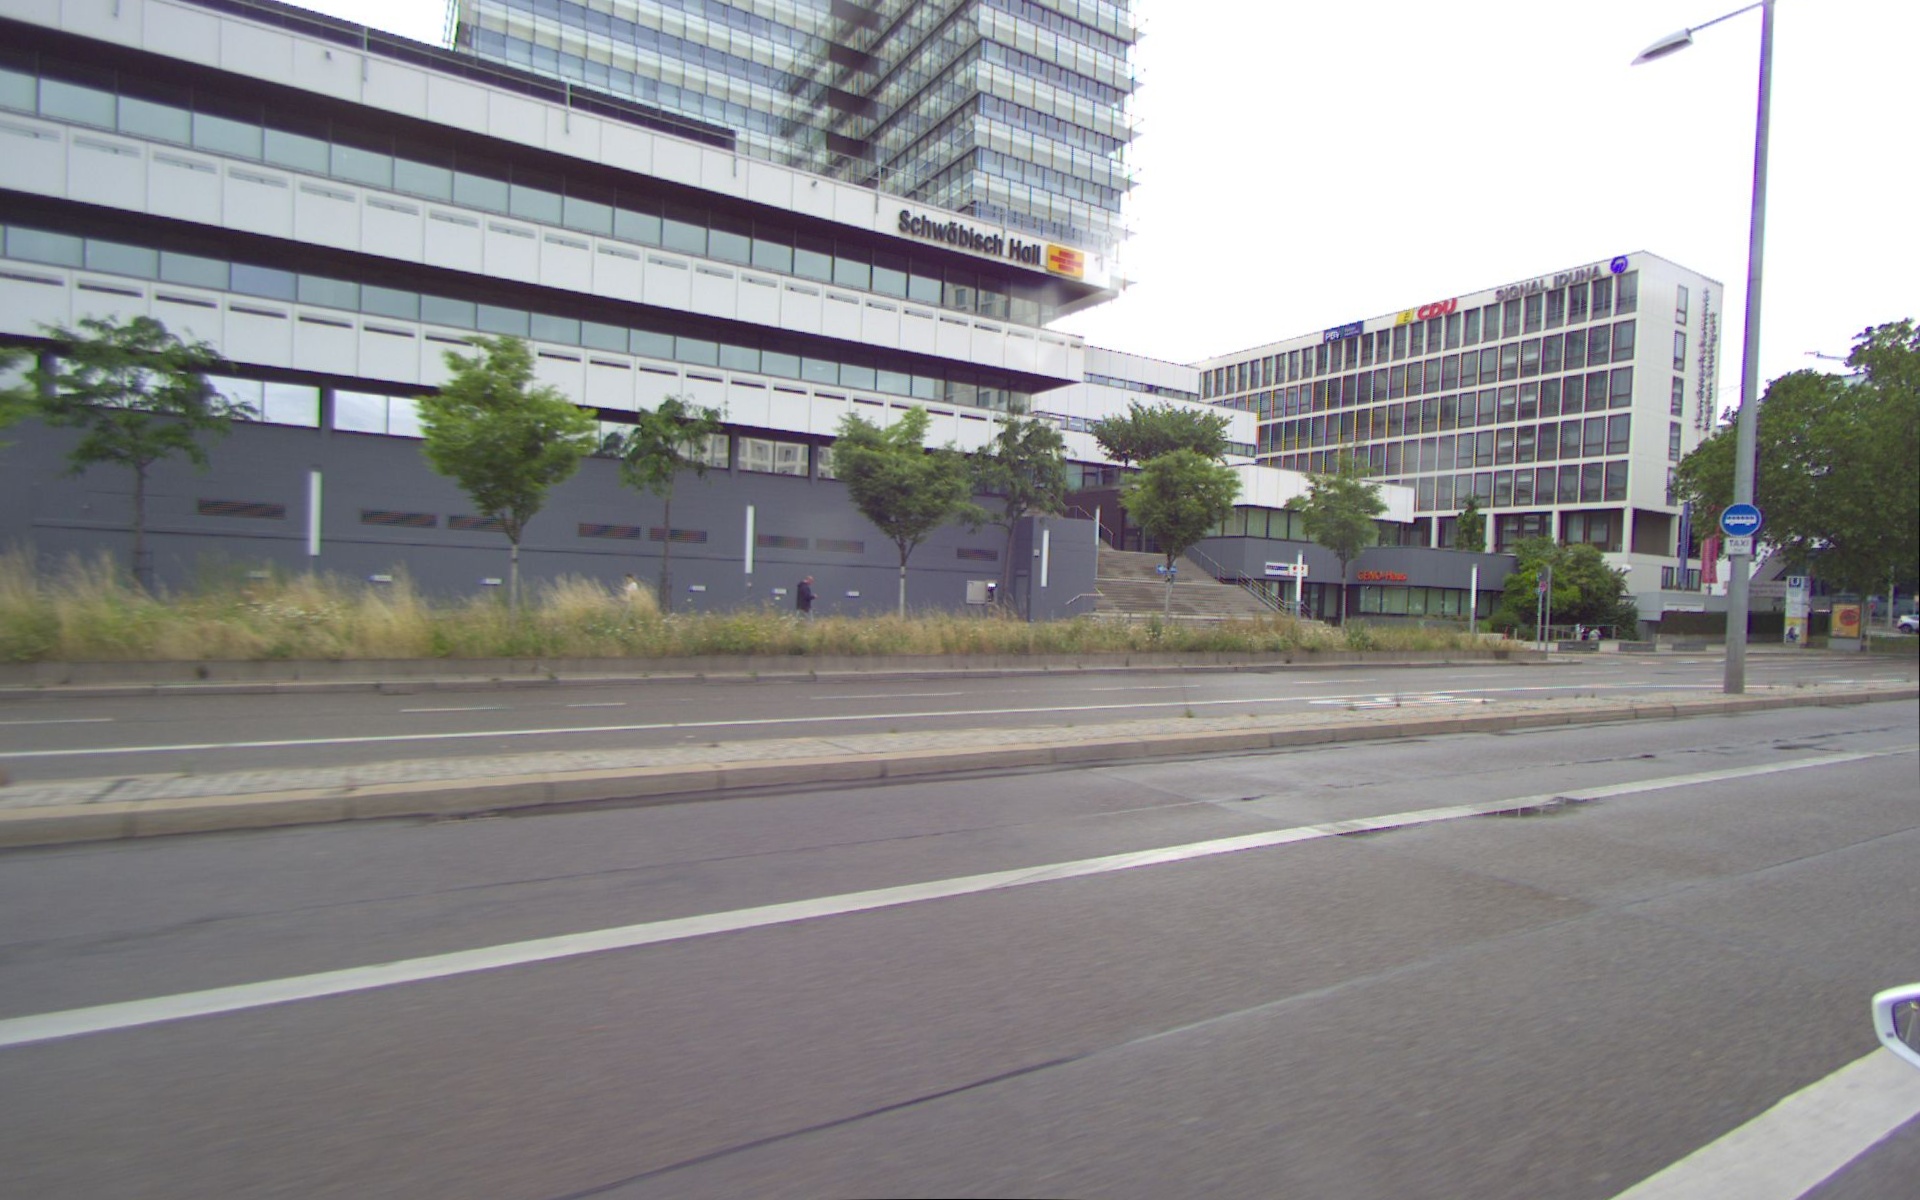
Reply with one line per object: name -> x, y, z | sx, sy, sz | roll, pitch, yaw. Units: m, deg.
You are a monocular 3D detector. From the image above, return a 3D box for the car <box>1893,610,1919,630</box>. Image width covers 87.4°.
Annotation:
car -> 83.096, 1.741, 85.958 | 1.863, 1.653, 4.503 | 2, -1, -14

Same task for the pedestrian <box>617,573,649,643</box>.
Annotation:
pedestrian -> -8.762, 0.205, 26.906 | 0.621, 1.832, 0.626 | 2, 0, -30

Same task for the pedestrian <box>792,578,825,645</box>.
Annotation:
pedestrian -> -4.206, 0.312, 27.854 | 0.621, 1.832, 0.780 | 2, 0, -30
